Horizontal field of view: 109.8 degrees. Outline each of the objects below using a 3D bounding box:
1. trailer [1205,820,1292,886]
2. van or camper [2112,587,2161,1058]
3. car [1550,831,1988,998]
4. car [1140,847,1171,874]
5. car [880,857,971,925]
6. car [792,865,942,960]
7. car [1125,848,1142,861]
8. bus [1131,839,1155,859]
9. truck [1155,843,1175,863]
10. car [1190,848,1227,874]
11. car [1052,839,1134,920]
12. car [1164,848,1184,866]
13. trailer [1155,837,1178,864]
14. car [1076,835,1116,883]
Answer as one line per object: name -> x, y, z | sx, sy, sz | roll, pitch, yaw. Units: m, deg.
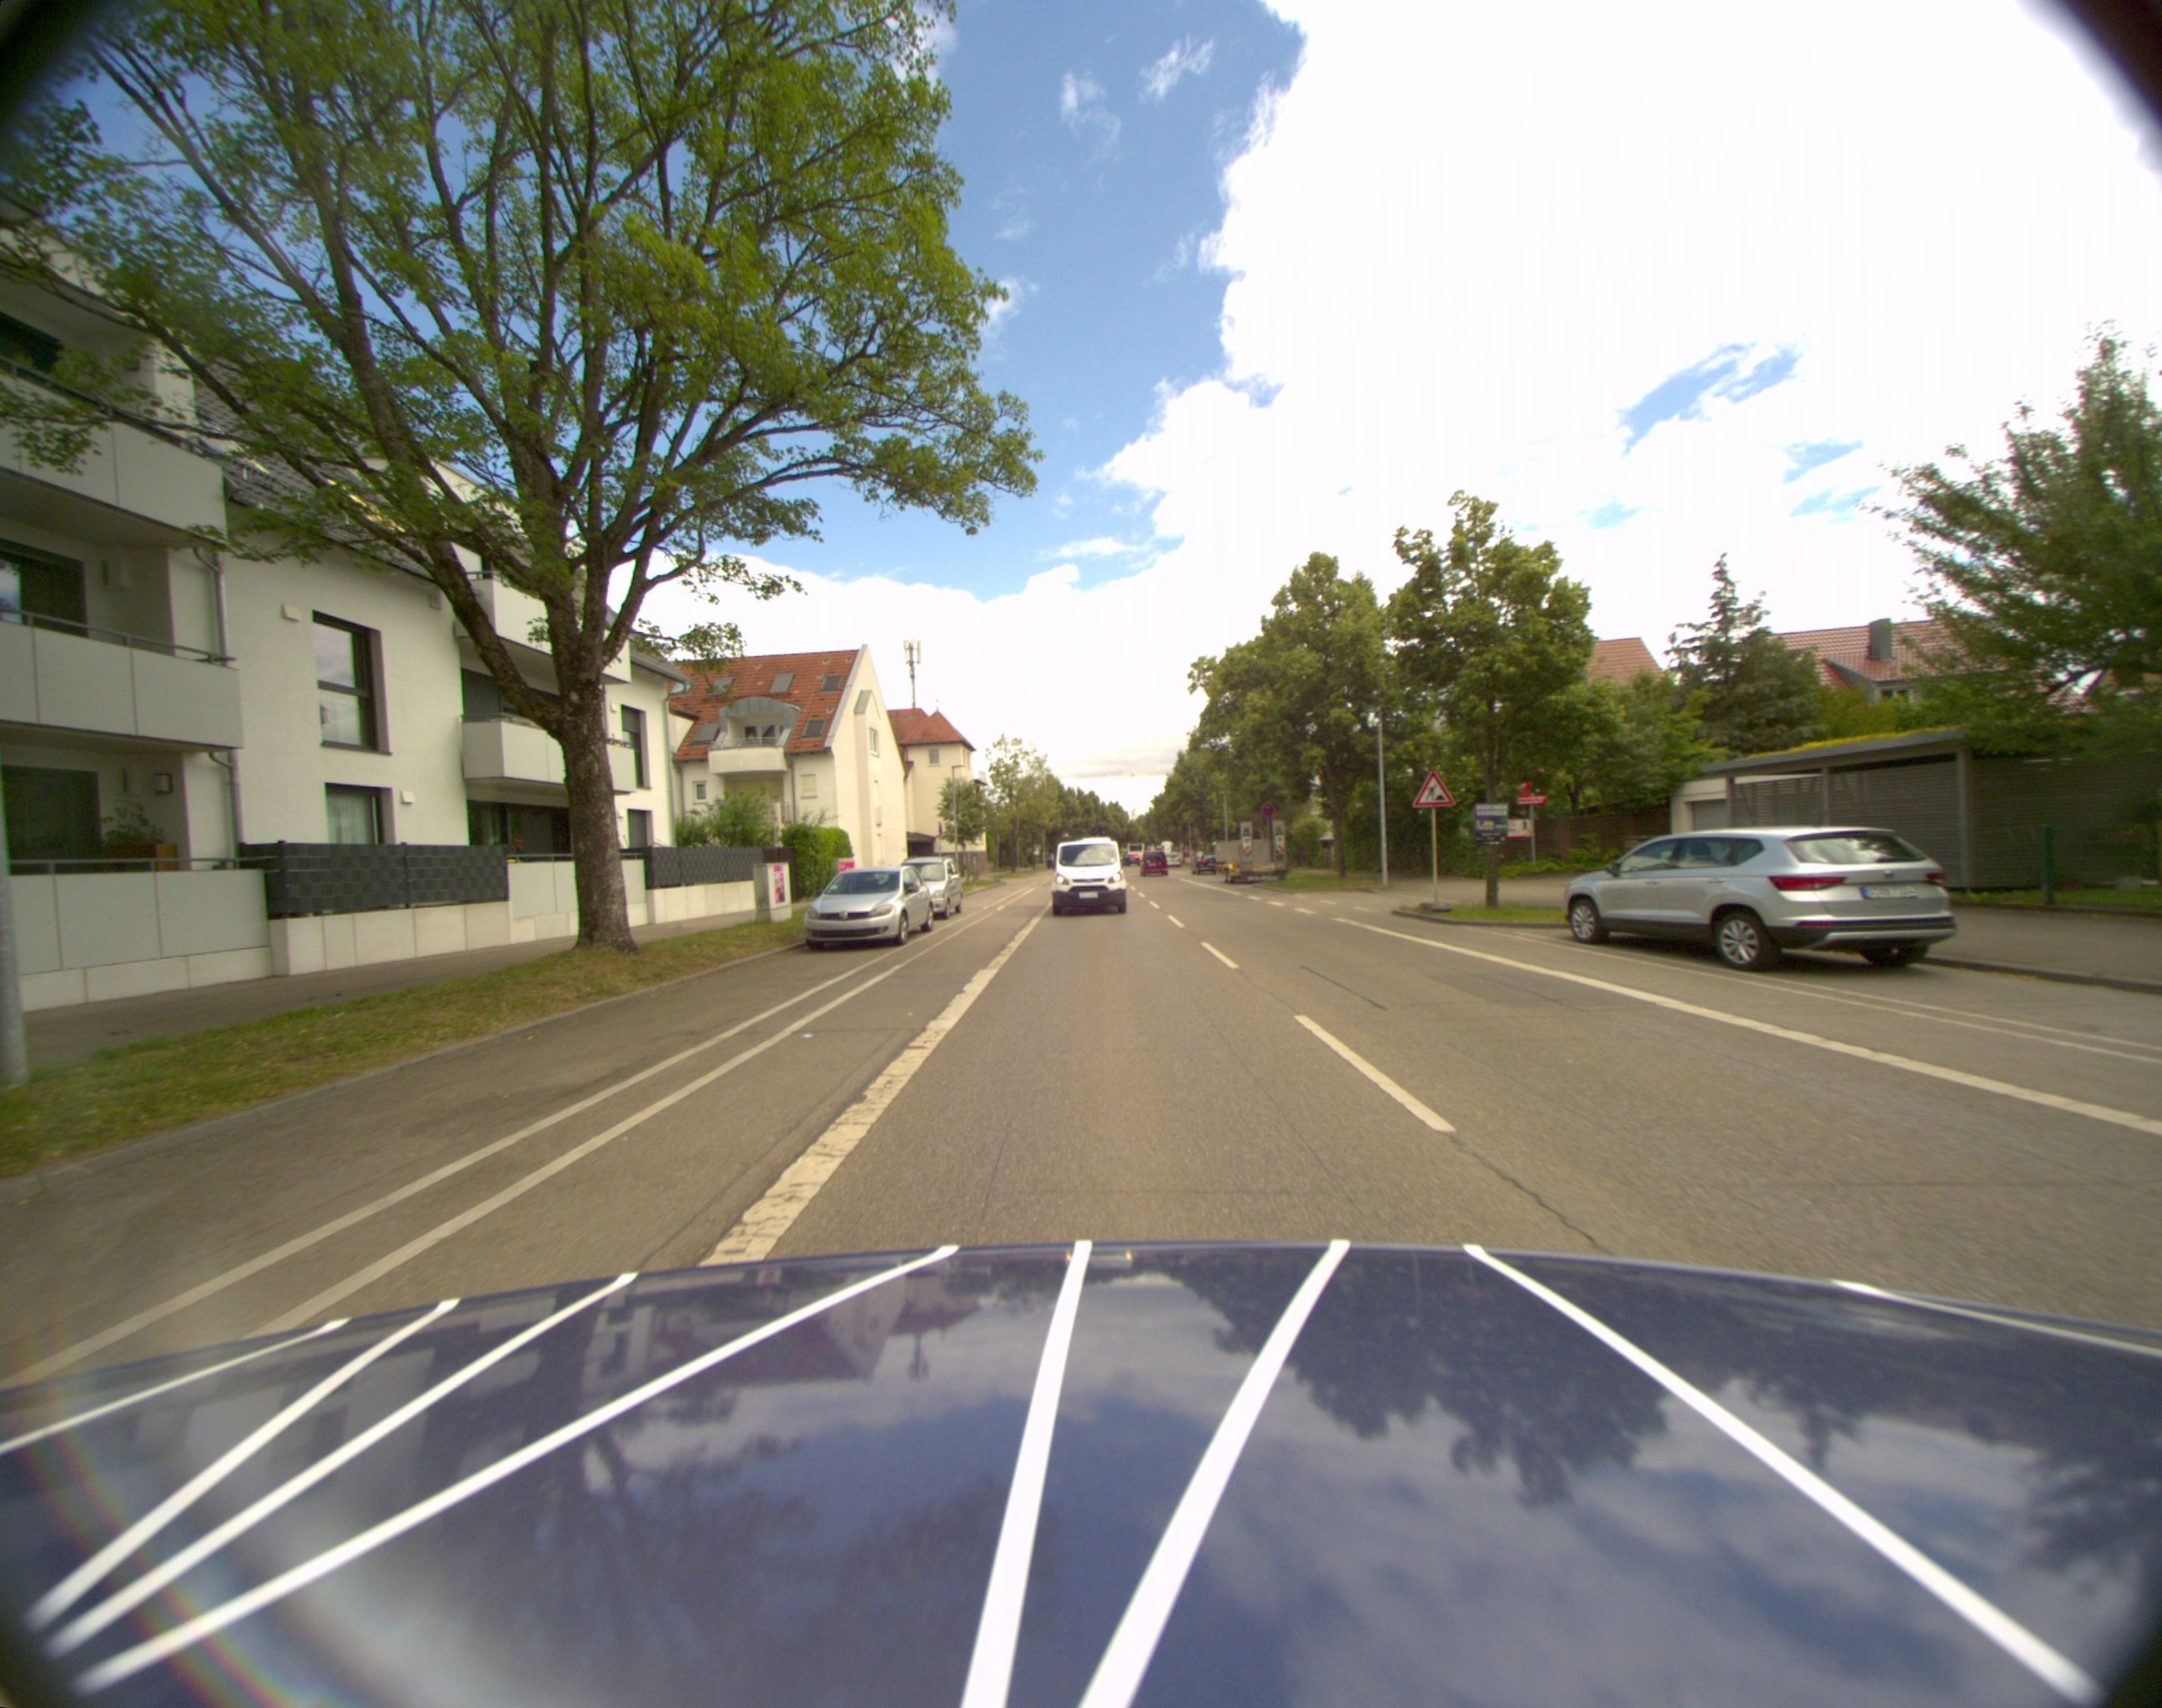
trailer -> 8.335, -0.117, 38.746 | 2.680, 2.924, 7.474 | -3, 1, 0
van or camper -> 8.013, -0.214, 1.180 | 2.441, 2.992, 7.693 | -2, 0, 1
car -> 8.108, 0.591, 9.635 | 1.727, 1.591, 4.272 | -2, 0, 1
car -> 5.248, 0.441, 54.047 | 1.764, 1.792, 4.769 | -2, 0, 1
car -> -4.198, 0.948, 21.076 | 1.636, 1.656, 3.648 | -2, 0, 1
car -> -4.051, 1.036, 15.104 | 1.691, 1.484, 4.227 | -2, 0, 1
car -> 6.629, 0.043, 96.935 | 1.998, 1.658, 4.589 | -1, 0, 2
bus -> 10.770, -0.927, 130.590 | 2.810, 3.269, 18.054 | 1, 1, 8
truck -> 10.322, -0.116, 93.213 | 2.300, 2.274, 6.465 | -2, 0, 6
car -> 8.877, 0.439, 53.340 | 1.865, 1.544, 4.618 | -3, 2, 1
car -> 0.406, 0.633, 21.921 | 1.998, 2.002, 5.319 | -2, 0, 2
car -> 9.721, 0.271, 79.840 | 1.693, 1.674, 4.225 | -3, 1, 2
trailer -> 9.684, -0.422, 86.508 | 2.377, 2.946, 7.013 | -2, 0, 6
car -> 0.915, 0.266, 43.768 | 1.998, 2.584, 4.001 | -3, 0, 3
